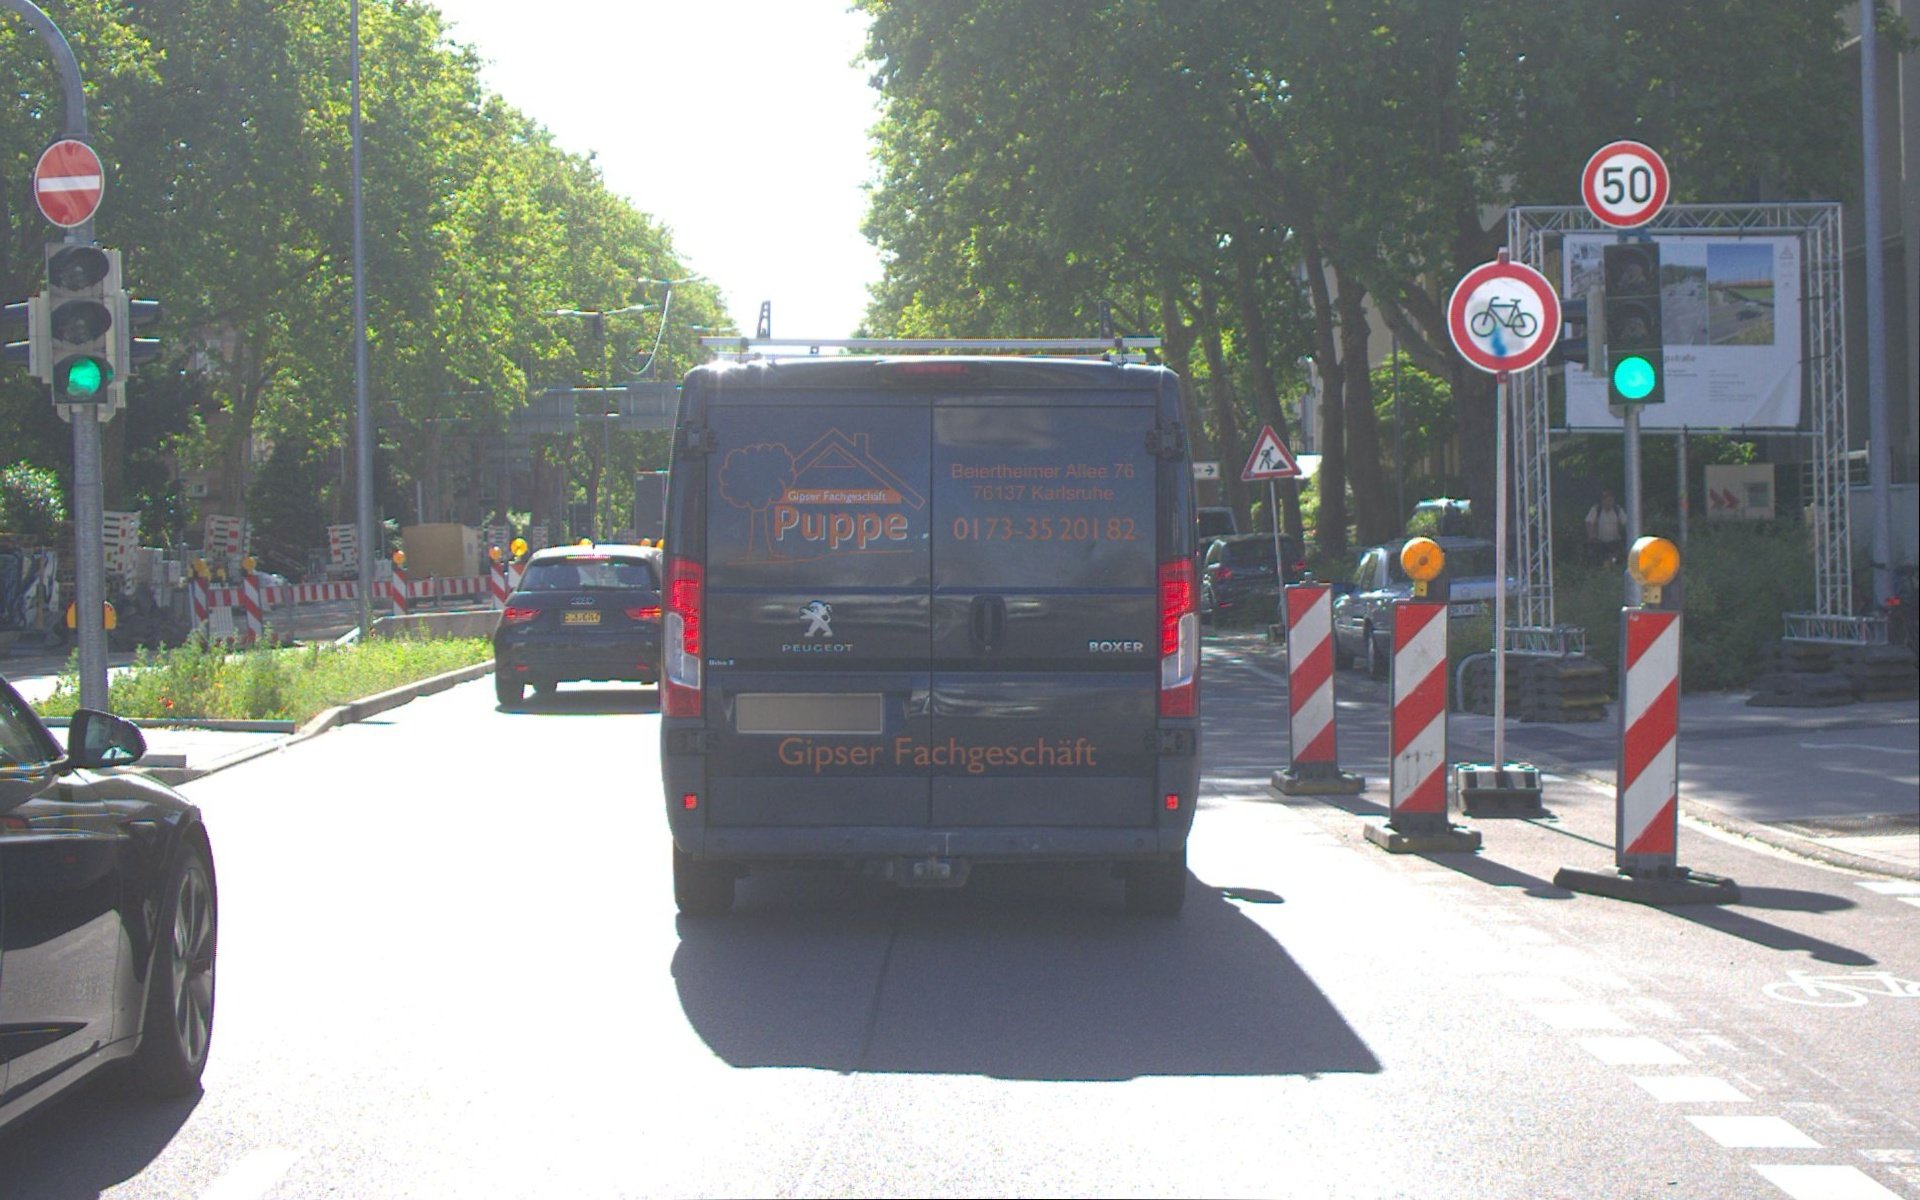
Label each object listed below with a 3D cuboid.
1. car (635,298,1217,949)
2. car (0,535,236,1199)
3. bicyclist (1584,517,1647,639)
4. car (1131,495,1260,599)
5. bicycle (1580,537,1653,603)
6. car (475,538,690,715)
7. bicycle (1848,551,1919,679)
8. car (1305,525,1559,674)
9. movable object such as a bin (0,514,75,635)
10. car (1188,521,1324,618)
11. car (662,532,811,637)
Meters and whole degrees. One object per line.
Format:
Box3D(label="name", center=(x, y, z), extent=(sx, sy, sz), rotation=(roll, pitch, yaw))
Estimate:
Box3D(label="car", center=(-0.181, 0.025, 14.425), extent=(2.095, 2.347, 3.933), rotation=(0, 2, -2))
Box3D(label="car", center=(-2.976, 0.595, 7.343), extent=(1.925, 1.407, 4.626), rotation=(-1, 1, -1))
Box3D(label="bicyclist", center=(9.940, -0.339, 52.171), extent=(0.724, 1.814, 1.071), rotation=(-1, 1, 0))
Box3D(label="car", center=(4.624, -1.060, 68.105), extent=(2.025, 1.940, 5.274), rotation=(-1, 1, -1))
Box3D(label="bicycle", center=(9.942, -0.459, 52.094), extent=(0.782, 0.963, 1.823), rotation=(-1, 1, 1))
Box3D(label="car", center=(-3.461, 0.197, 32.106), extent=(1.746, 1.402, 4.001), rotation=(0, 3, -3))
Box3D(label="bicycle", center=(8.022, 0.104, 28.526), extent=(0.588, 1.001, 2.128), rotation=(0, 1, 34))
Box3D(label="car", center=(5.019, -0.057, 37.210), extent=(1.852, 1.474, 4.943), rotation=(-1, 1, -3))
Box3D(label="movable object such as a bin", center=(-18.957, -0.475, 66.588), extent=(1.993, 2.271, 5.599), rotation=(-2, 1, 2))
Box3D(label="car", center=(4.811, -0.518, 56.433), extent=(1.763, 1.503, 4.251), rotation=(-1, 1, -1))
Box3D(label="car", center=(-3.243, -0.264, 50.644), extent=(1.911, 1.439, 4.603), rotation=(-1, 1, -1))
